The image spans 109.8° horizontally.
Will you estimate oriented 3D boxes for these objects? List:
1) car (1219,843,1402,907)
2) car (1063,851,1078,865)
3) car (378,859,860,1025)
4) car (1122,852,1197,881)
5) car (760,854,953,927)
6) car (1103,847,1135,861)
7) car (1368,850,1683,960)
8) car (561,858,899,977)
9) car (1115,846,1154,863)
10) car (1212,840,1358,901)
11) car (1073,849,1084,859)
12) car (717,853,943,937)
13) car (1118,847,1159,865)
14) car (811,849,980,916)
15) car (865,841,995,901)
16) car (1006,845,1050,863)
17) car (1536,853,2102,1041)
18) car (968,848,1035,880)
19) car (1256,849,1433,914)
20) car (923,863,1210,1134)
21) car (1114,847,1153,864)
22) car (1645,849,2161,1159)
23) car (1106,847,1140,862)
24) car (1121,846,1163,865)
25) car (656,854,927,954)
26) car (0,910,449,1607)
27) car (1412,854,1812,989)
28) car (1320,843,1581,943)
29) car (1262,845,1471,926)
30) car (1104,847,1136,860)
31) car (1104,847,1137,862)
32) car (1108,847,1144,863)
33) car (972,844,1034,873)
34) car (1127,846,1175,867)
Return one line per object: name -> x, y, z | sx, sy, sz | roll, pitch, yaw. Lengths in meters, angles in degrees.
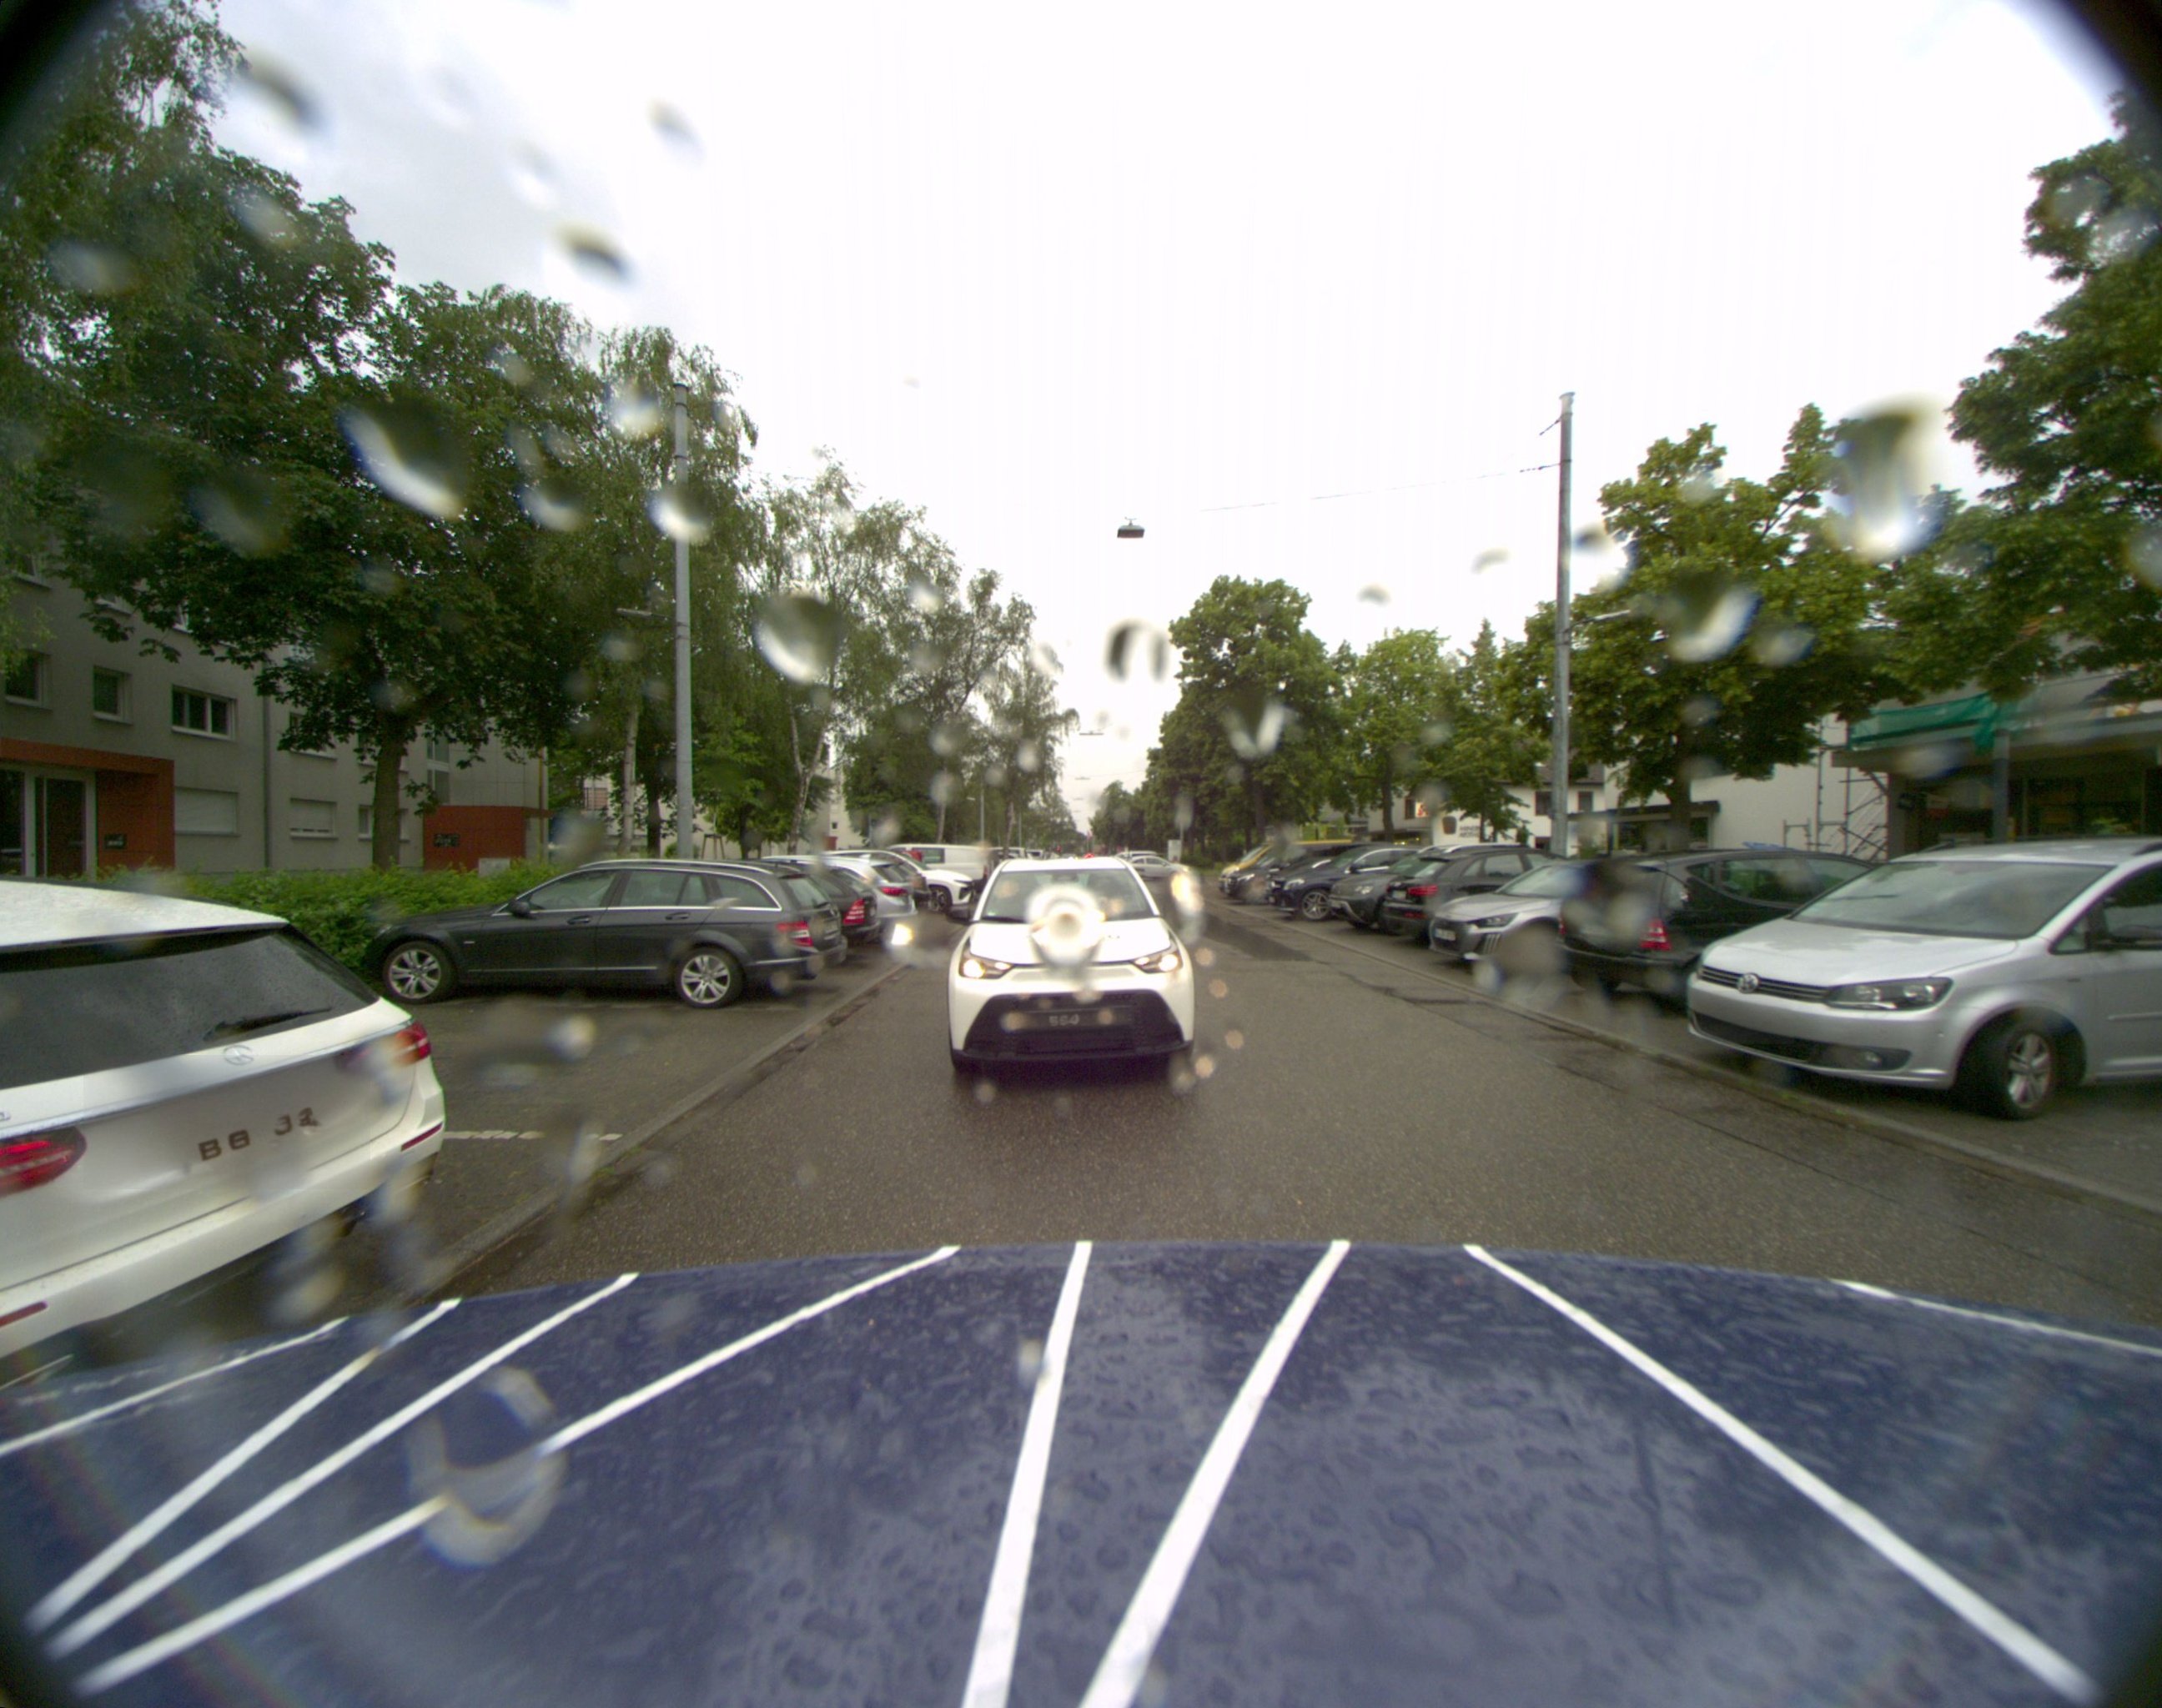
car -> 7.107, 0.630, 23.824 | 5.177, 1.789, 1.715 | -2, 1, -2
car -> -1.542, 0.551, 108.996 | 1.998, 1.804, 3.999 | -2, 1, 1
car -> -4.633, 0.859, 8.099 | 4.049, 1.431, 1.680 | 2, 1, -3
car -> 4.601, 0.718, 44.280 | 4.251, 1.446, 2.001 | -2, 1, 8
car -> -5.168, 0.820, 17.897 | 4.049, 1.488, 1.680 | 2, 1, -3
car -> 4.962, 0.001, 99.170 | 3.998, 1.675, 1.999 | -2, 1, -3
car -> 7.257, 0.786, 12.678 | 4.283, 1.586, 1.715 | -2, 1, -2
car -> -4.844, 0.853, 10.936 | 4.049, 1.431, 1.680 | 2, 1, -3
car -> 5.710, 0.073, 81.337 | 3.998, 1.675, 1.999 | -2, 1, -3
car -> 7.169, 0.555, 26.924 | 4.657, 1.947, 1.715 | -2, 1, -2
car -> -0.497, -0.049, 151.940 | 1.998, 1.804, 3.999 | -2, 1, 1
car -> -5.019, 0.799, 15.595 | 4.049, 1.488, 1.680 | 2, 1, -3
car -> 5.955, 0.223, 78.689 | 3.998, 1.675, 1.999 | -2, 1, -3
car -> -5.009, 0.742, 20.908 | 4.179, 1.609, 1.680 | 2, 1, 1
car -> -5.113, 0.565, 26.172 | 4.182, 1.856, 1.679 | 2, 1, -6
car -> -5.202, 0.000, 74.993 | 3.995, 1.670, 1.902 | -2, 1, 4
car -> 7.261, 0.841, 7.755 | 4.283, 1.556, 1.635 | -2, 1, -2
car -> -5.120, 0.626, 49.276 | 3.995, 1.902, 1.902 | -2, 1, 4
car -> 7.208, 0.726, 21.039 | 4.283, 1.617, 1.715 | -2, 1, -2
car -> -0.169, 0.919, 6.800 | 1.733, 1.519, 4.138 | -2, 1, -3
car -> 5.776, 0.113, 83.751 | 3.998, 1.675, 1.999 | -2, 1, -3
car -> 6.610, 0.840, 5.197 | 4.283, 1.625, 1.715 | -2, 1, -2
car -> 5.210, 0.053, 94.415 | 3.998, 1.675, 1.999 | -2, 1, -3
car -> 6.076, 0.128, 76.042 | 3.998, 1.675, 1.999 | -2, 1, -3
car -> -4.889, 0.825, 13.244 | 4.049, 1.488, 1.680 | 2, 1, -3
car -> -4.756, 0.918, 2.068 | 4.623, 1.431, 1.680 | 2, 1, 0
car -> 7.005, 0.834, 10.302 | 4.283, 1.523, 1.715 | -2, 1, -2
car -> 7.090, 0.704, 14.847 | 4.283, 1.717, 1.715 | -2, 1, -2
car -> 6.635, 0.691, 17.930 | 4.283, 1.717, 1.715 | -2, 1, -2
car -> 5.194, -0.067, 101.610 | 3.998, 1.675, 1.999 | -2, 1, -3
car -> 5.019, 0.028, 96.937 | 3.998, 1.675, 1.999 | -2, 1, -3
car -> 5.328, 0.102, 90.308 | 3.998, 1.675, 1.999 | -2, 1, -3
car -> -5.519, 0.284, 54.112 | 3.995, 1.902, 1.902 | -2, 1, 4
car -> 6.332, 0.213, 68.821 | 3.998, 1.675, 1.999 | -2, 1, -3
